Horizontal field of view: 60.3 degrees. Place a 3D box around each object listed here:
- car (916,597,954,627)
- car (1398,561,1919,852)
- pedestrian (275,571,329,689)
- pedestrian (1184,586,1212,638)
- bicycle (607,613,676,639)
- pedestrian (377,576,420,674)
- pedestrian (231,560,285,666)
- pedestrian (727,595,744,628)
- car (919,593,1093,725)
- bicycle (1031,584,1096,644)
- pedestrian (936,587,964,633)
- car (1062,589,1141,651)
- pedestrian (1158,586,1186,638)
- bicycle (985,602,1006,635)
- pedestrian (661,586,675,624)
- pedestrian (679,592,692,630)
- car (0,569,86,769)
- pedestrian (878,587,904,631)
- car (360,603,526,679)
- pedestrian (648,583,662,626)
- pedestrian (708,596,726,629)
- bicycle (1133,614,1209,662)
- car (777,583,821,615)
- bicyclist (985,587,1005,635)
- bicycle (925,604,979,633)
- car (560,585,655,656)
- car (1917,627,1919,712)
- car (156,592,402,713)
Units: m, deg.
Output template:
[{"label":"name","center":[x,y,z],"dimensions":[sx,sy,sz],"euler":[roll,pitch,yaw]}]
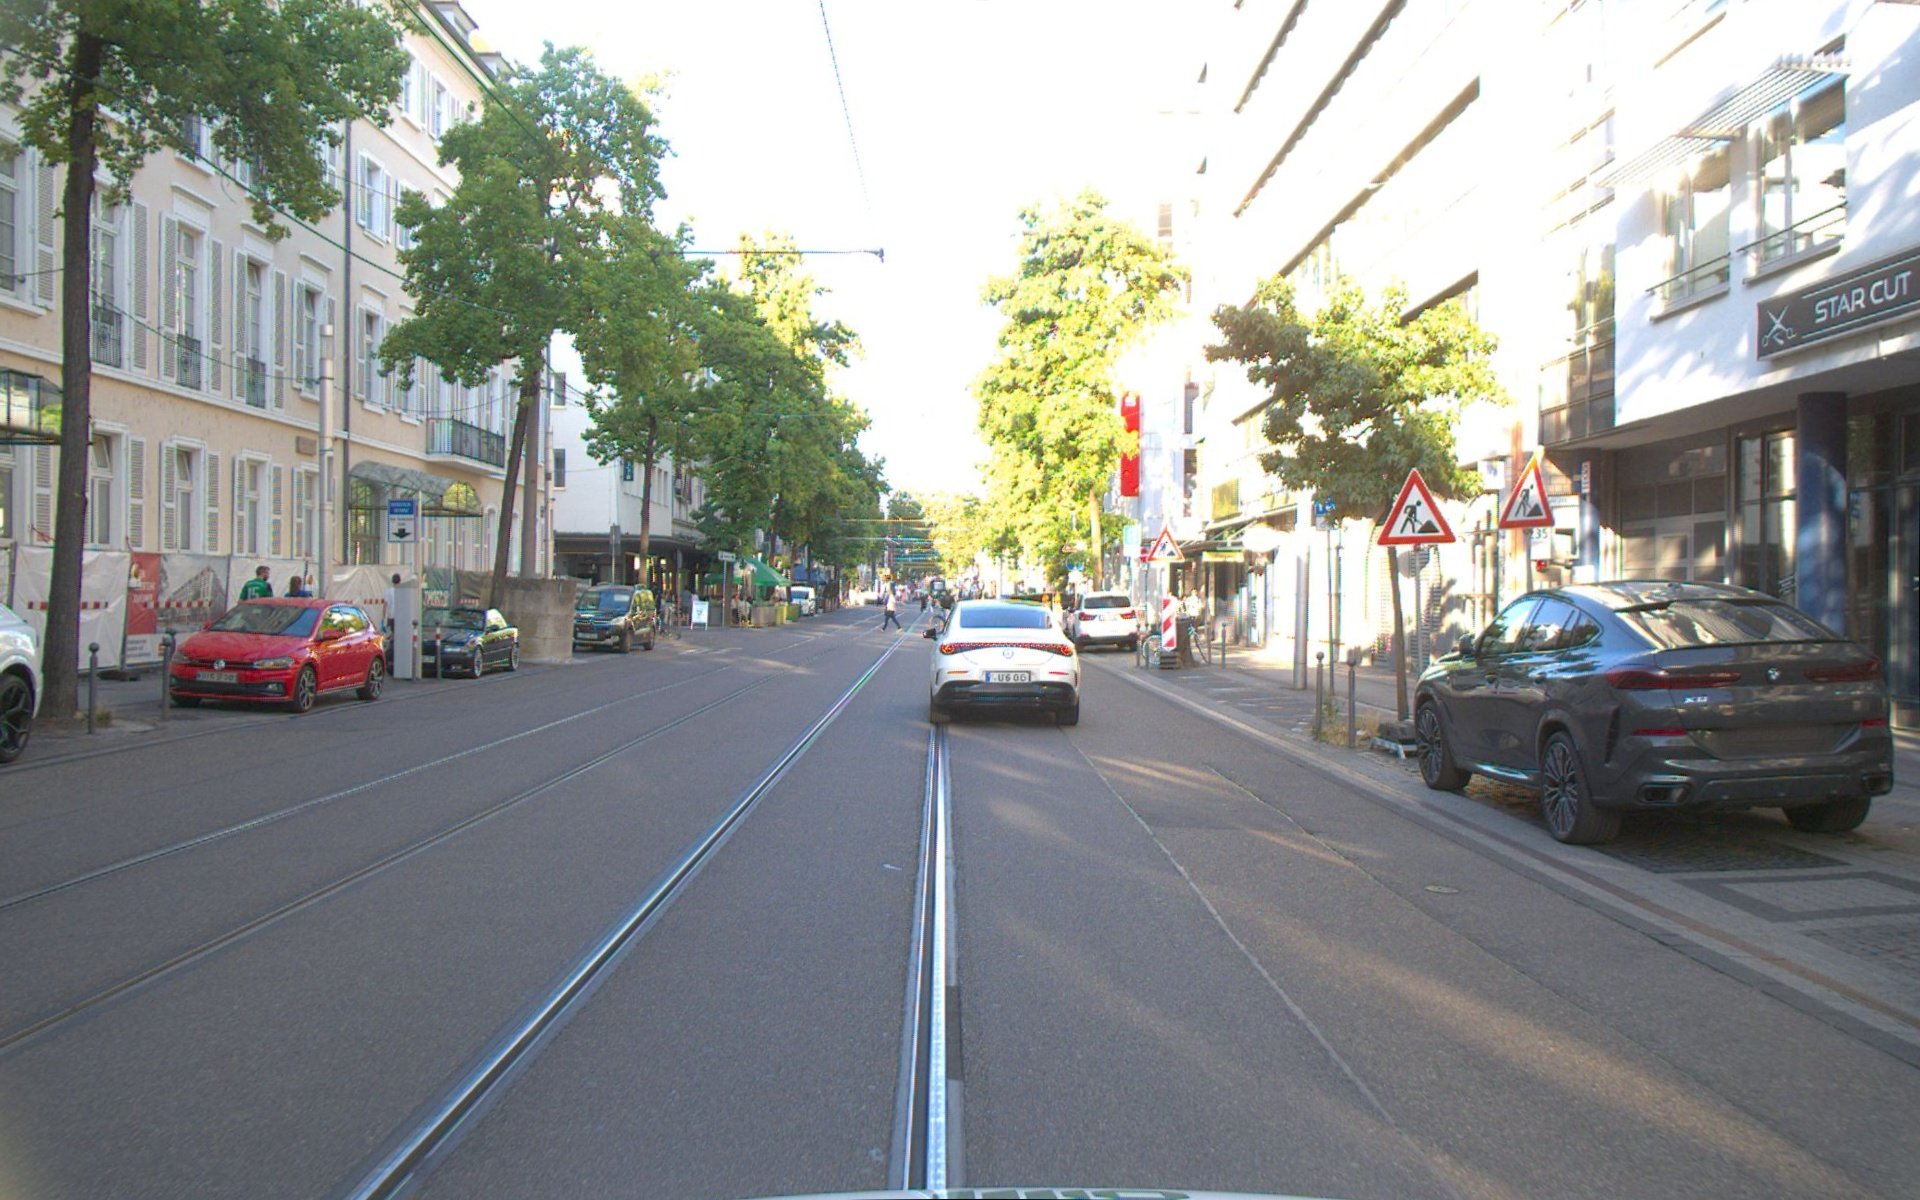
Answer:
[{"label":"car","center":[-2.731,1.325,180.956],"dimensions":[3.957,3.169,8.429],"euler":[0,0,-1]},{"label":"car","center":[4.937,0.630,12.392],"dimensions":[1.953,1.743,4.865],"euler":[0,0,-1]},{"label":"pedestrian","center":[-11.523,0.517,28.983],"dimensions":[0.693,2.039,0.675],"euler":[0,0,-4]},{"label":"pedestrian","center":[8.341,0.426,57.905],"dimensions":[0.785,1.805,0.680],"euler":[0,0,-13]},{"label":"bicycle","center":[-10.611,0.860,55.084],"dimensions":[2.206,0.845,0.717],"euler":[0,0,22]},{"label":"pedestrian","center":[-11.849,0.526,34.903],"dimensions":[0.693,2.039,0.675],"euler":[0,0,-4]},{"label":"pedestrian","center":[-12.345,0.222,29.116],"dimensions":[0.693,1.838,0.675],"euler":[0,0,-6]},{"label":"pedestrian","center":[-10.333,0.536,76.087],"dimensions":[0.511,1.504,0.644],"euler":[-2,-1,-28]},{"label":"car","center":[0.479,0.671,20.869],"dimensions":[1.831,1.494,4.039],"euler":[0,0,-4]},{"label":"bicycle","center":[3.589,0.476,57.919],"dimensions":[1.953,2.049,3.999],"euler":[0,0,-1]},{"label":"pedestrian","center":[-0.402,0.392,65.503],"dimensions":[0.904,1.805,0.870],"euler":[0,0,-15]},{"label":"car","center":[4.154,0.551,49.161],"dimensions":[1.953,1.758,4.240],"euler":[0,0,0]},{"label":"pedestrian","center":[7.422,0.427,57.876],"dimensions":[0.785,1.805,0.680],"euler":[0,0,-13]},{"label":"bicycle","center":[1.299,0.676,60.835],"dimensions":[0.725,1.209,2.160],"euler":[0,0,0]},{"label":"pedestrian","center":[-12.791,0.220,72.405],"dimensions":[0.506,1.681,0.650],"euler":[0,0,-1]},{"label":"pedestrian","center":[-12.070,0.469,72.715],"dimensions":[0.506,1.644,0.650],"euler":[0,0,-2]},{"label":"car","center":[-9.248,0.584,13.116],"dimensions":[1.921,1.721,5.013],"euler":[1,0,0]},{"label":"pedestrian","center":[-2.860,0.378,68.292],"dimensions":[0.904,1.805,0.870],"euler":[0,0,-15]},{"label":"car","center":[-9.810,0.742,31.721],"dimensions":[1.953,1.315,3.999],"euler":[1,0,-1]},{"label":"pedestrian","center":[-13.364,0.194,72.552],"dimensions":[0.506,1.888,0.650],"euler":[0,0,-1]},{"label":"pedestrian","center":[-10.967,0.544,74.605],"dimensions":[0.557,1.489,0.650],"euler":[0,0,19]},{"label":"bicycle","center":[4.836,0.872,37.963],"dimensions":[1.686,1.080,0.581],"euler":[0,0,2]},{"label":"car","center":[-10.428,-0.053,107.326],"dimensions":[1.951,2.049,4.003],"euler":[0,0,7]},{"label":"bicyclist","center":[1.300,0.410,60.890],"dimensions":[0.710,1.732,0.811],"euler":[0,0,0]},{"label":"bicycle","center":[-0.323,0.733,65.515],"dimensions":[2.014,1.155,0.870],"euler":[0,0,-15]},{"label":"car","center":[-9.525,0.529,44.893],"dimensions":[1.519,1.827,3.170],"euler":[0,0,8]},{"label":"car","center":[4.845,0.803,4.513],"dimensions":[1.802,1.461,3.994],"euler":[-2,0,-7]},{"label":"car","center":[-9.417,0.669,23.247],"dimensions":[1.654,1.525,4.234],"euler":[1,0,0]}]
